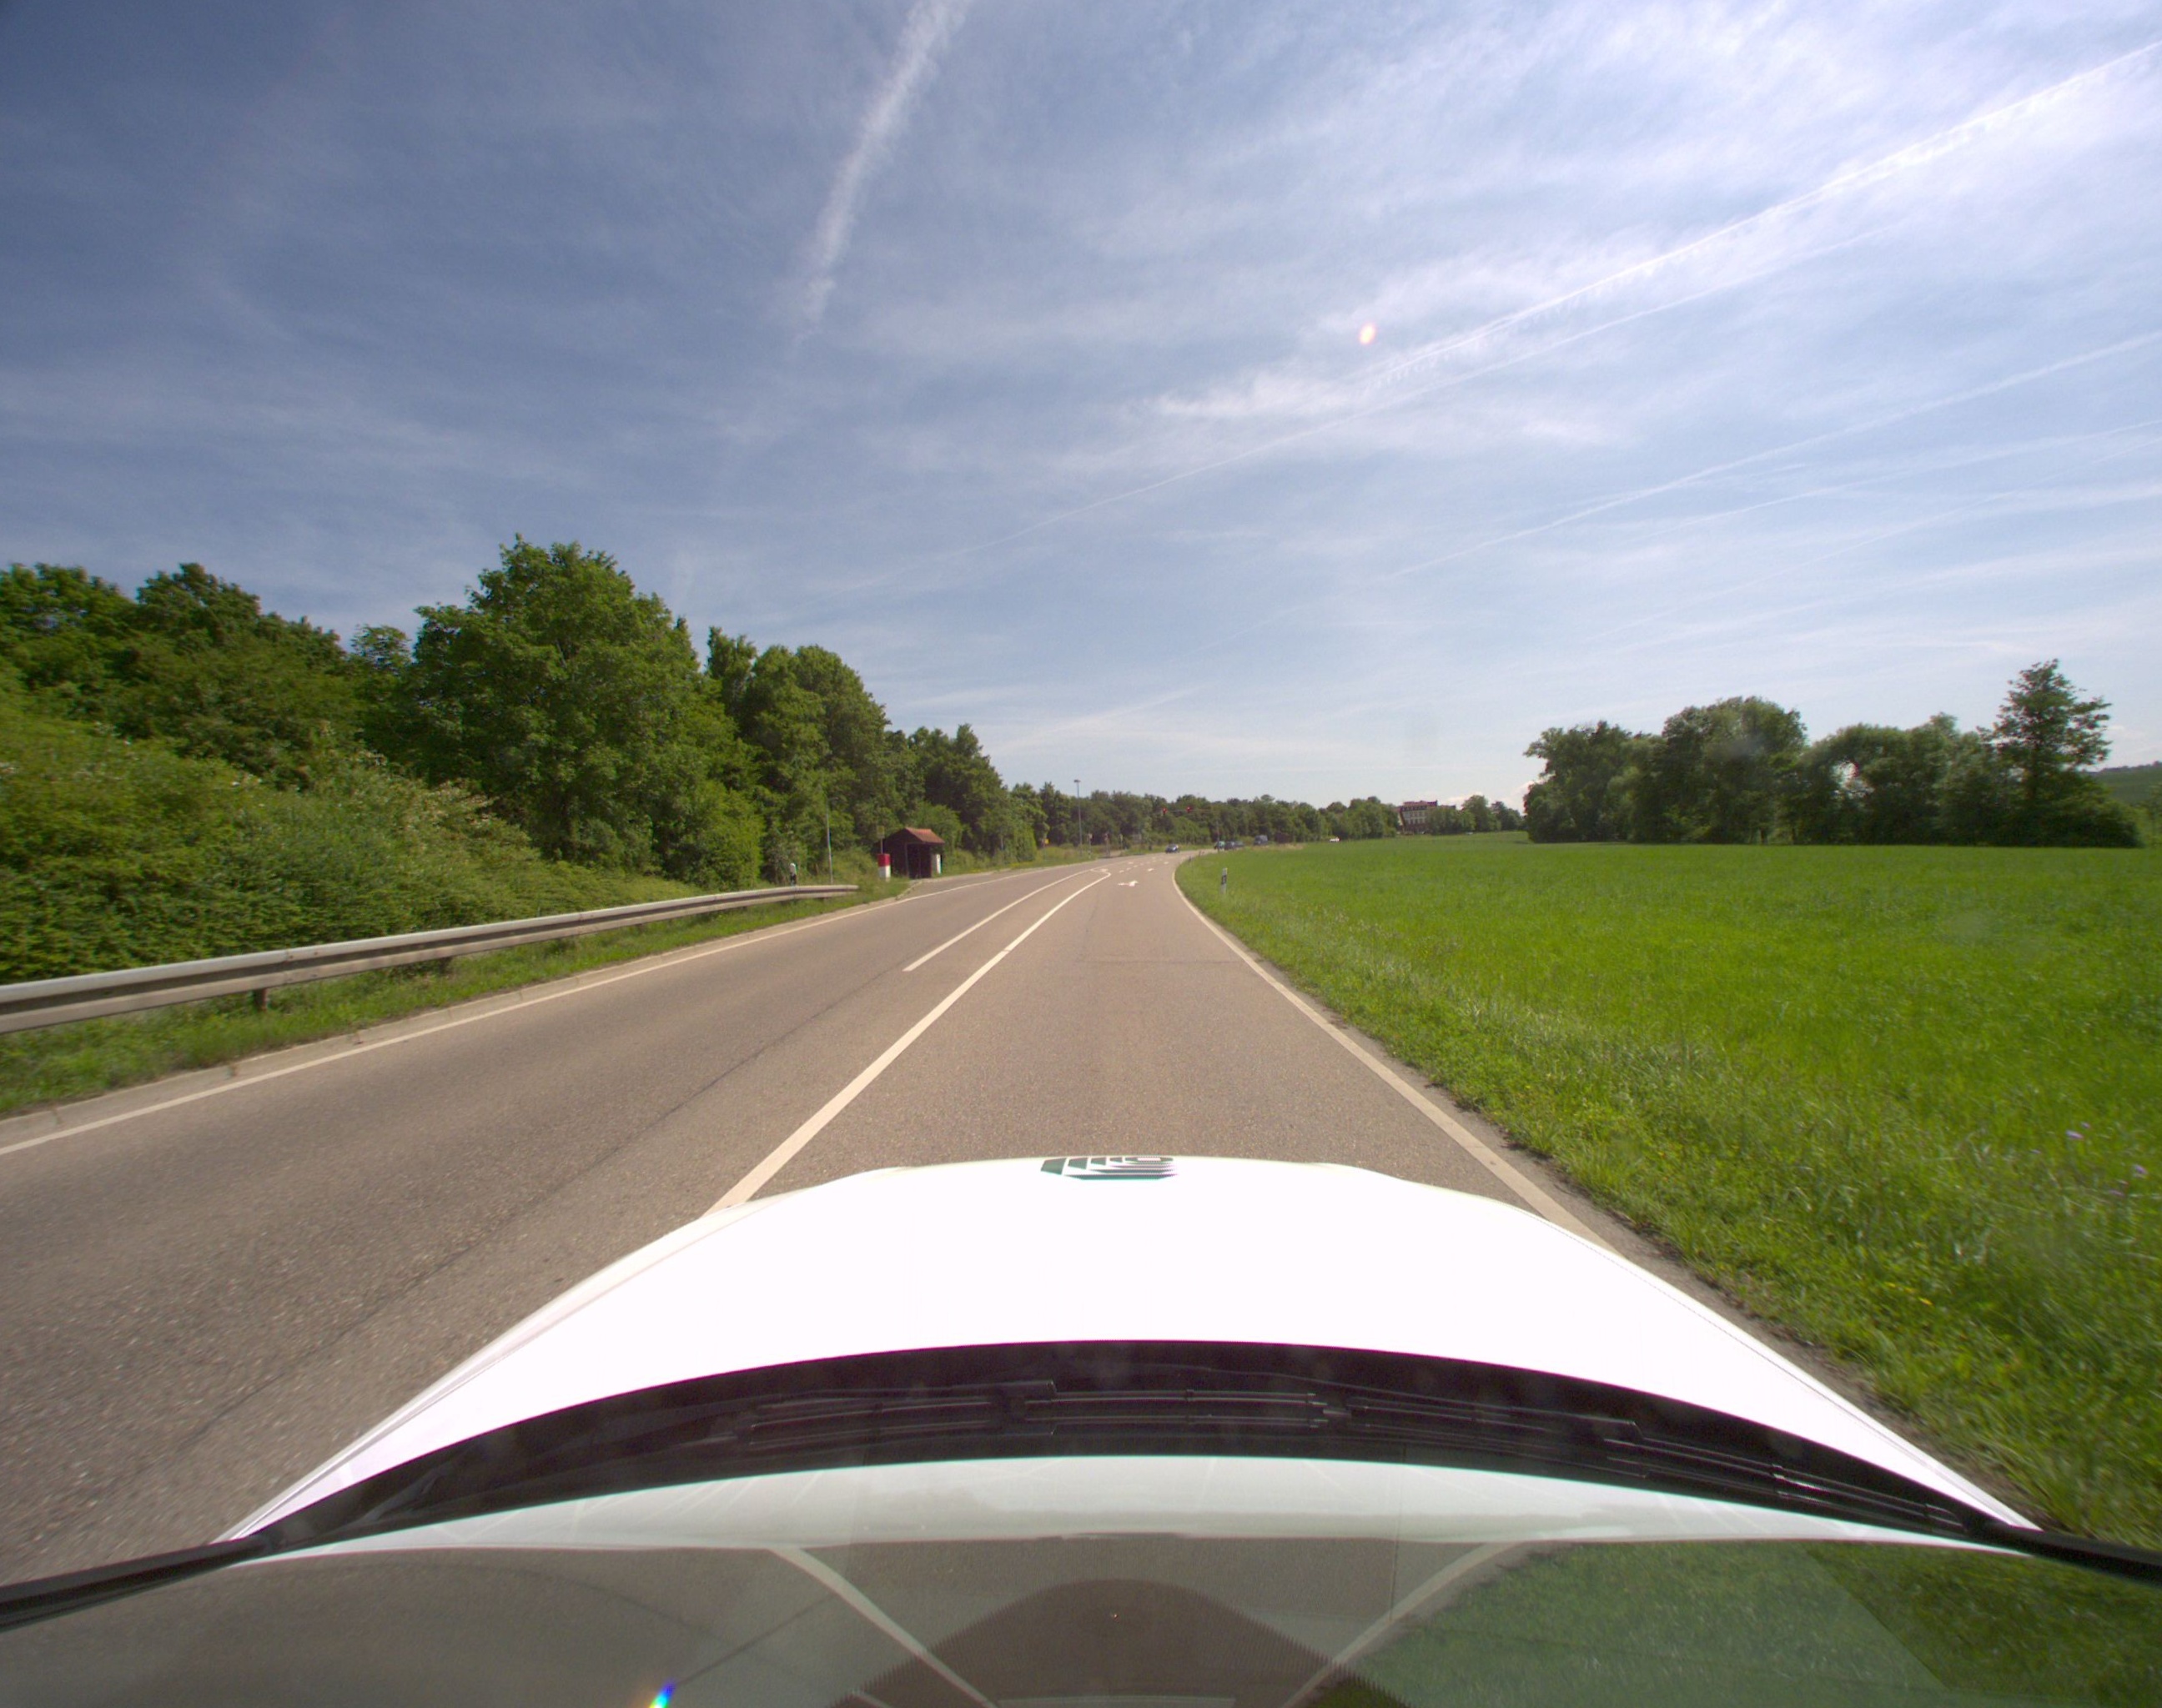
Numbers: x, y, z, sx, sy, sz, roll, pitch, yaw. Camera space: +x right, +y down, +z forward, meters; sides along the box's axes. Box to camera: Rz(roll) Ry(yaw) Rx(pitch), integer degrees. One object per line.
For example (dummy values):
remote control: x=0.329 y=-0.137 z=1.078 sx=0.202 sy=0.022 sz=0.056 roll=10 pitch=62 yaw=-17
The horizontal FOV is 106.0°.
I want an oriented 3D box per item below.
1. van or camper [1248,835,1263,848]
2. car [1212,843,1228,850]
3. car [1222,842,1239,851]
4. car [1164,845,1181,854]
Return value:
van or camper: x=44.076 y=-3.193 z=205.380 sx=2.219 sy=2.913 sz=7.289 roll=-2 pitch=2 yaw=24
car: x=29.183 y=-1.606 z=171.034 sx=1.955 sy=1.562 sz=4.214 roll=-1 pitch=0 yaw=27
car: x=27.674 y=-1.465 z=150.632 sx=1.975 sy=1.574 sz=4.023 roll=-1 pitch=0 yaw=24
car: x=15.394 y=-0.795 z=137.013 sx=1.775 sy=1.474 sz=4.334 roll=-1 pitch=0 yaw=23
